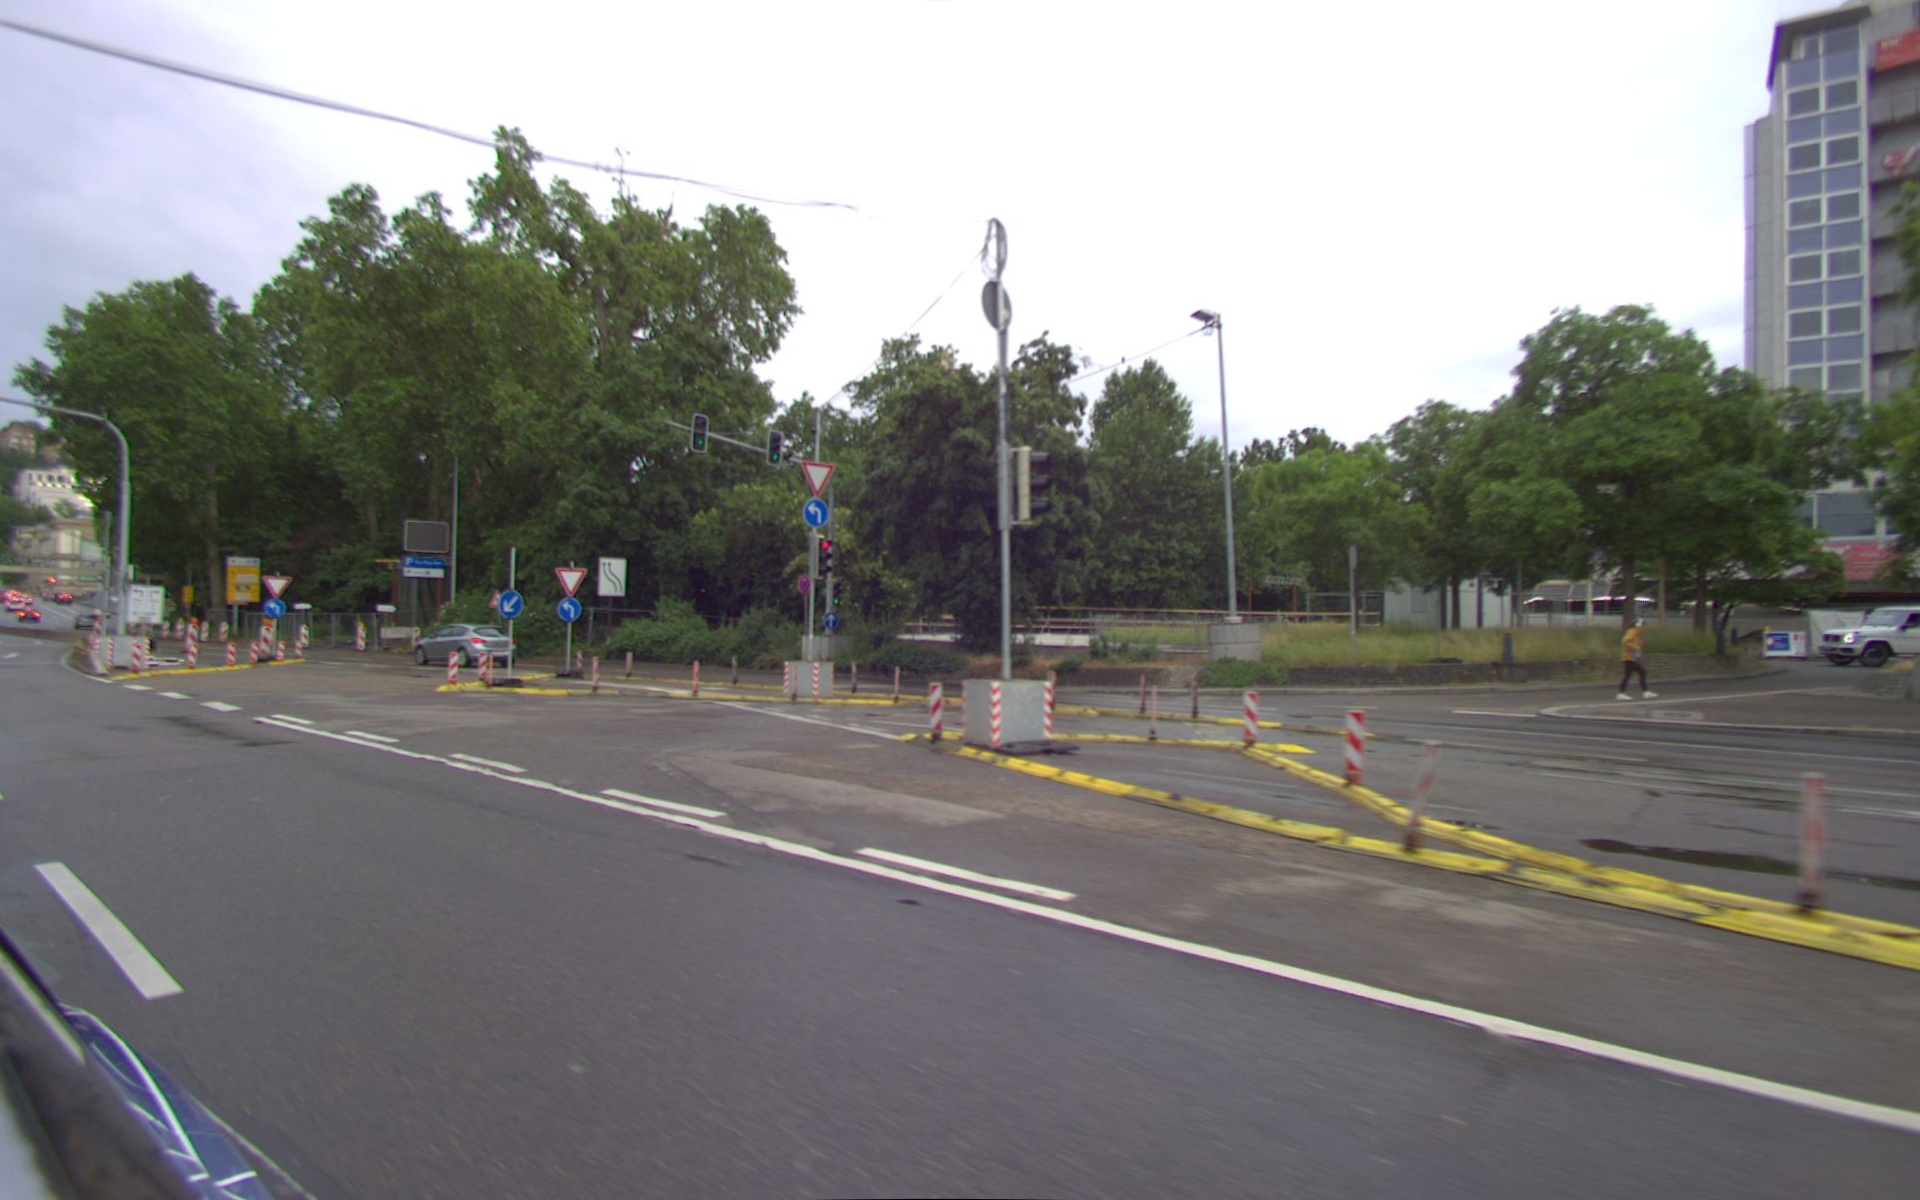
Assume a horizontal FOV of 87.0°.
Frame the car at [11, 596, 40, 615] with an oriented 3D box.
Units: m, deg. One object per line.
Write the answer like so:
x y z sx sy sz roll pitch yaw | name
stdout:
-102.429 0.595 110.925 4.000 2.029 1.972 -2 -2 43 | car

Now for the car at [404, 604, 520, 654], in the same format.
-17.186 1.021 34.879 4.144 1.554 1.645 -3 -3 32 | car

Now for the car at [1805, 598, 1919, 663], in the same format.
30.574 0.978 32.509 4.783 2.029 2.028 -1 -2 12 | car

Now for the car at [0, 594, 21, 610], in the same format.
-129.364 0.324 137.810 4.000 2.029 1.972 -2 -2 43 | car

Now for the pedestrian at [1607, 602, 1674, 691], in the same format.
13.620 0.940 20.267 0.950 1.738 0.550 -5 -4 41 | pedestrian
